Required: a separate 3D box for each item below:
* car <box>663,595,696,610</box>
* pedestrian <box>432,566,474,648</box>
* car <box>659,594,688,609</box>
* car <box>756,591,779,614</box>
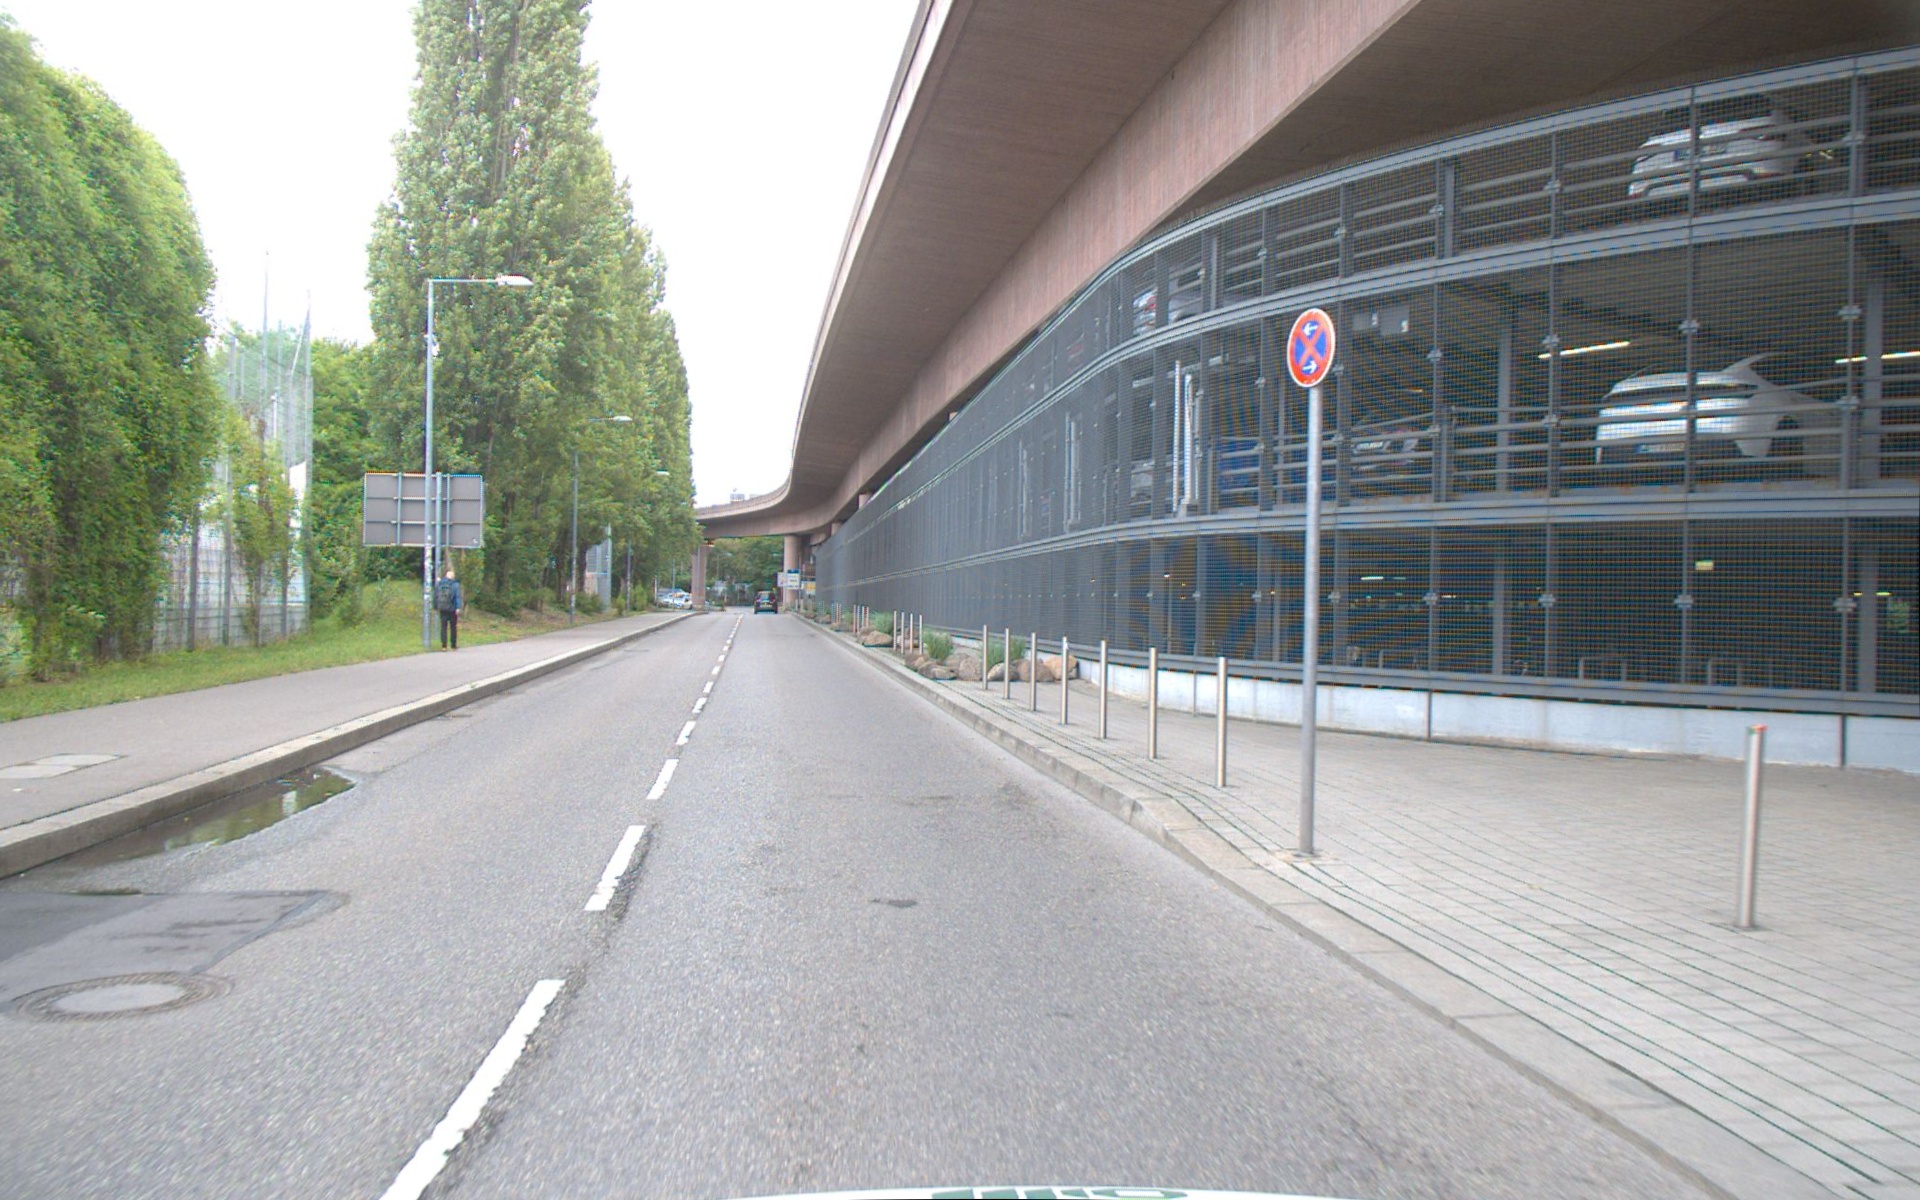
[{"bbox_3d":[-36.293,0.337,214.132,1.847,1.746,4.141,2,2,33],"label":"car"},{"bbox_3d":[-11.367,0.155,37.115,0.789,1.812,0.918,0,1,-11],"label":"pedestrian"},{"bbox_3d":[-37.663,0.191,217.741,1.690,1.746,3.662,2,2,33],"label":"car"},{"bbox_3d":[-15.097,0.185,129.733,1.804,1.741,3.700,0,2,-7],"label":"car"}]
